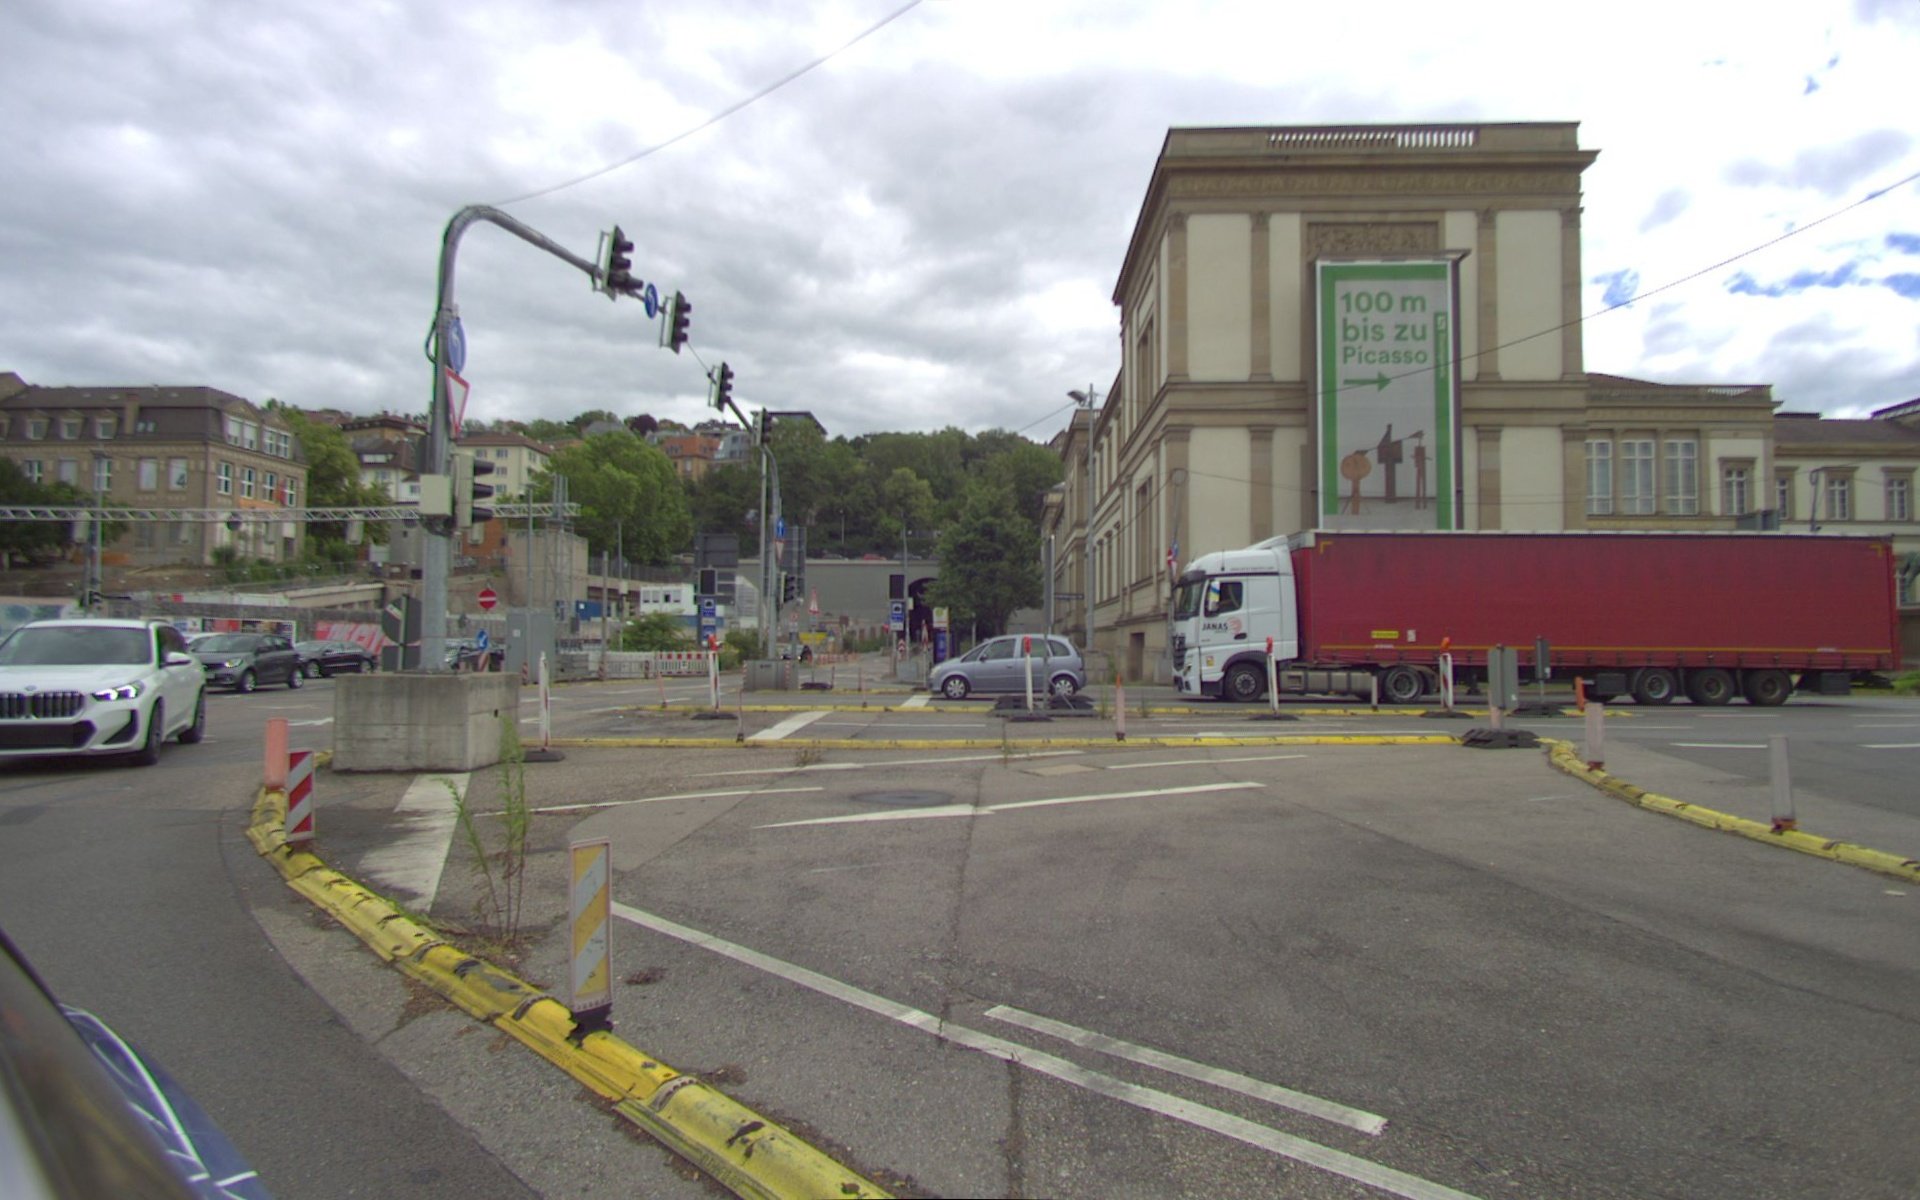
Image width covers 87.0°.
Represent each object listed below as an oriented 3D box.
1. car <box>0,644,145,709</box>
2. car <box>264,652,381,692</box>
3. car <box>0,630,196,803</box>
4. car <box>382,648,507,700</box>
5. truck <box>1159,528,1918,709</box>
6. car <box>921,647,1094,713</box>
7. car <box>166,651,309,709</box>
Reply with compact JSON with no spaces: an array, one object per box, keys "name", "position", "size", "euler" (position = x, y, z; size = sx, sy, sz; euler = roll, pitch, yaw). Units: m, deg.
[{"name":"car","position":[-24.194,1.959,26.321],"size":[1.888,1.591,4.673],"euler":[0,-4,6]},{"name":"car","position":[-23.480,2.655,37.433],"size":[1.707,1.400,3.696],"euler":[0,-4,6]},{"name":"car","position":[-9.875,1.162,11.145],"size":[1.782,1.617,3.724],"euler":[1,-3,-29]},{"name":"car","position":[-16.494,2.340,32.605],"size":[1.972,1.564,3.999],"euler":[0,-3,0]},{"name":"truck","position":[13.395,0.522,24.703],"size":[16.390,4.114,2.924],"euler":[0,-4,2]},{"name":"car","position":[1.142,1.950,25.010],"size":[4.075,1.515,1.770],"euler":[-1,-2,2]},{"name":"car","position":[-19.077,2.092,26.917],"size":[1.553,1.430,3.576],"euler":[1,-4,-7]}]
